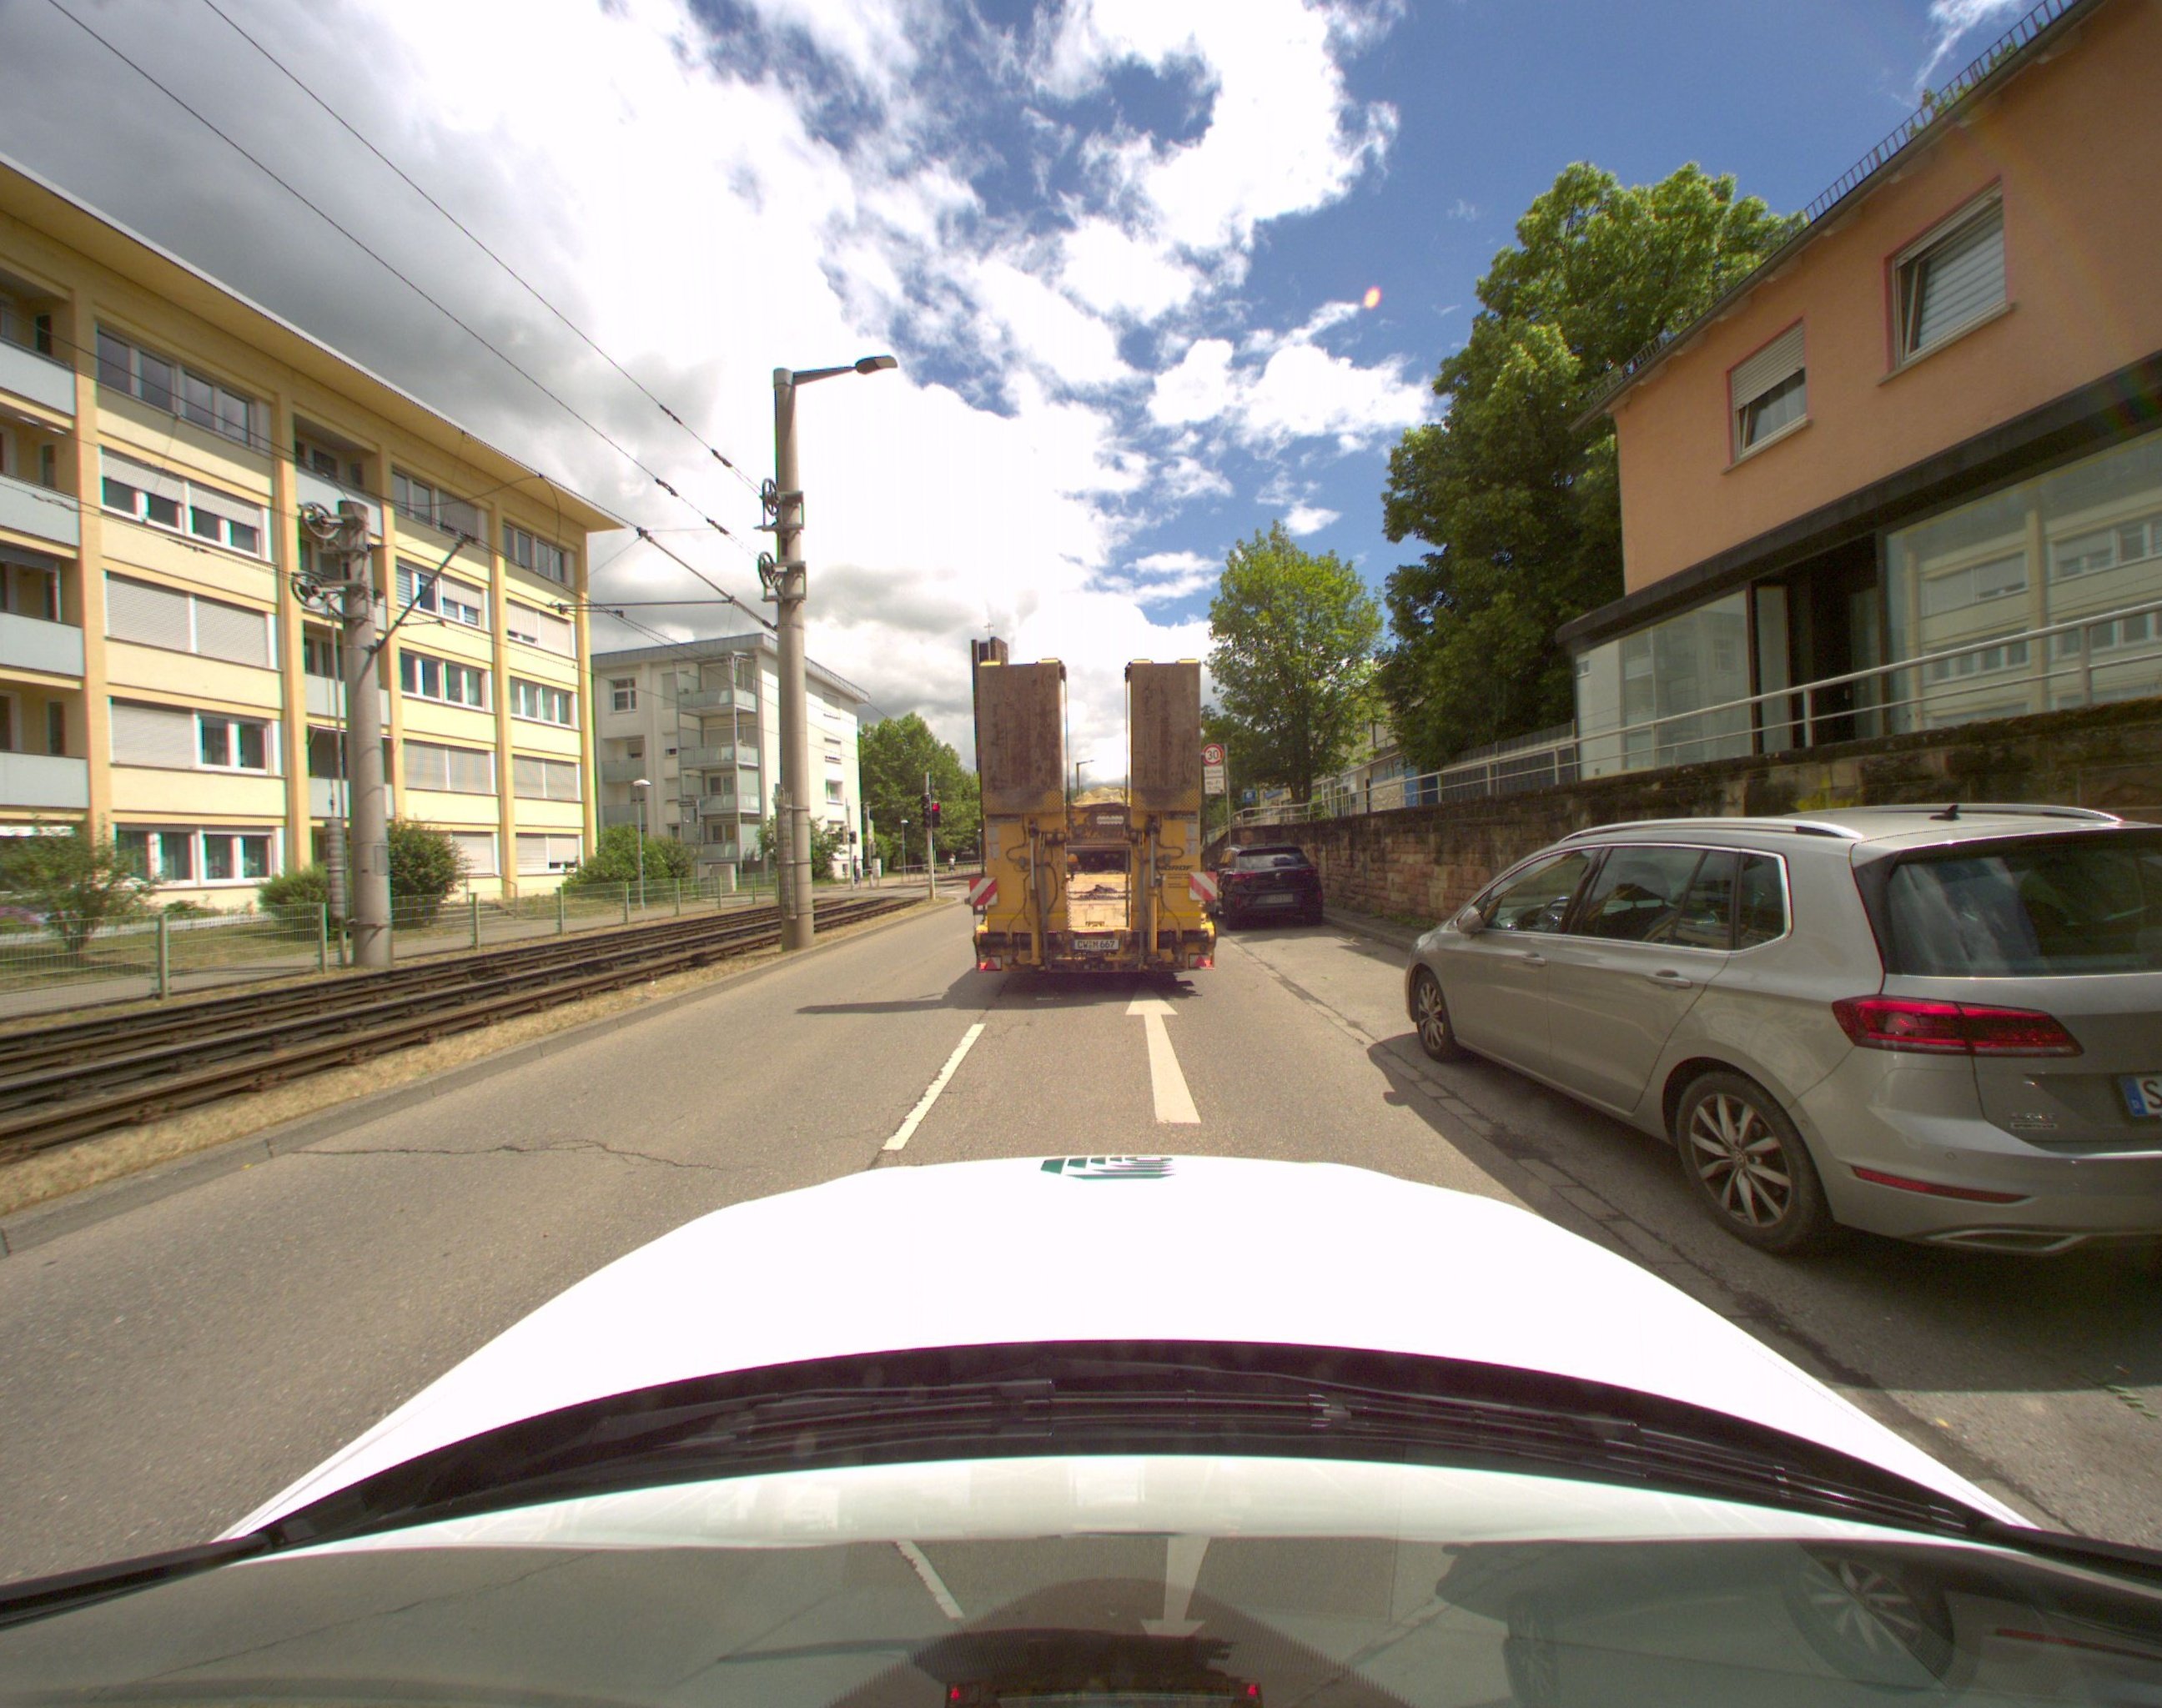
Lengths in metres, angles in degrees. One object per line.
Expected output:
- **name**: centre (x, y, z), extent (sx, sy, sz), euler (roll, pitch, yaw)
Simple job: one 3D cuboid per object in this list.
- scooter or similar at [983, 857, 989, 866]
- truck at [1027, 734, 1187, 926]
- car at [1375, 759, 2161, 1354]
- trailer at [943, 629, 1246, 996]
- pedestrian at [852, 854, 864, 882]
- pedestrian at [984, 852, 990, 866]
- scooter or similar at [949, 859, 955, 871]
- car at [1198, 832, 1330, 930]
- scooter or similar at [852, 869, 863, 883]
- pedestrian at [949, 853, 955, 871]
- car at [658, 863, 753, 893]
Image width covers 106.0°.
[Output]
- **scooter or similar**: centre (-10.330, 0.801, 88.633), extent (0.504, 0.971, 0.646), euler (0, 0, 1)
- **truck**: centre (0.602, -0.470, 17.977), extent (2.931, 3.572, 4.879), euler (-2, 0, 2)
- **car**: centre (3.252, 0.524, 4.391), extent (1.783, 1.617, 4.249), euler (-3, 0, 1)
- **trailer**: centre (0.346, -0.440, 12.560), extent (2.933, 3.601, 8.690), euler (-2, 0, 3)
- **pedestrian**: centre (-12.667, 0.792, 46.230), extent (0.435, 1.580, 0.475), euler (-2, 0, 6)
- **pedestrian**: centre (-10.293, 0.528, 89.286), extent (0.562, 1.513, 0.646), euler (0, 0, 1)
- **scooter or similar**: centre (-11.419, 0.965, 72.067), extent (0.336, 1.057, 0.688), euler (-2, 0, 5)
- **car**: centre (3.521, 0.475, 16.407), extent (1.843, 1.639, 4.003), euler (-3, 0, 3)
- **scooter or similar**: centre (-12.540, 1.213, 45.725), extent (0.435, 0.747, 0.475), euler (-2, 0, 7)
- **pedestrian**: centre (-11.495, 0.730, 72.722), extent (0.346, 1.537, 0.558), euler (-2, 0, 5)
- **car**: centre (-19.195, 1.200, 41.695), extent (3.963, 1.345, 1.906), euler (-2, 0, 9)
